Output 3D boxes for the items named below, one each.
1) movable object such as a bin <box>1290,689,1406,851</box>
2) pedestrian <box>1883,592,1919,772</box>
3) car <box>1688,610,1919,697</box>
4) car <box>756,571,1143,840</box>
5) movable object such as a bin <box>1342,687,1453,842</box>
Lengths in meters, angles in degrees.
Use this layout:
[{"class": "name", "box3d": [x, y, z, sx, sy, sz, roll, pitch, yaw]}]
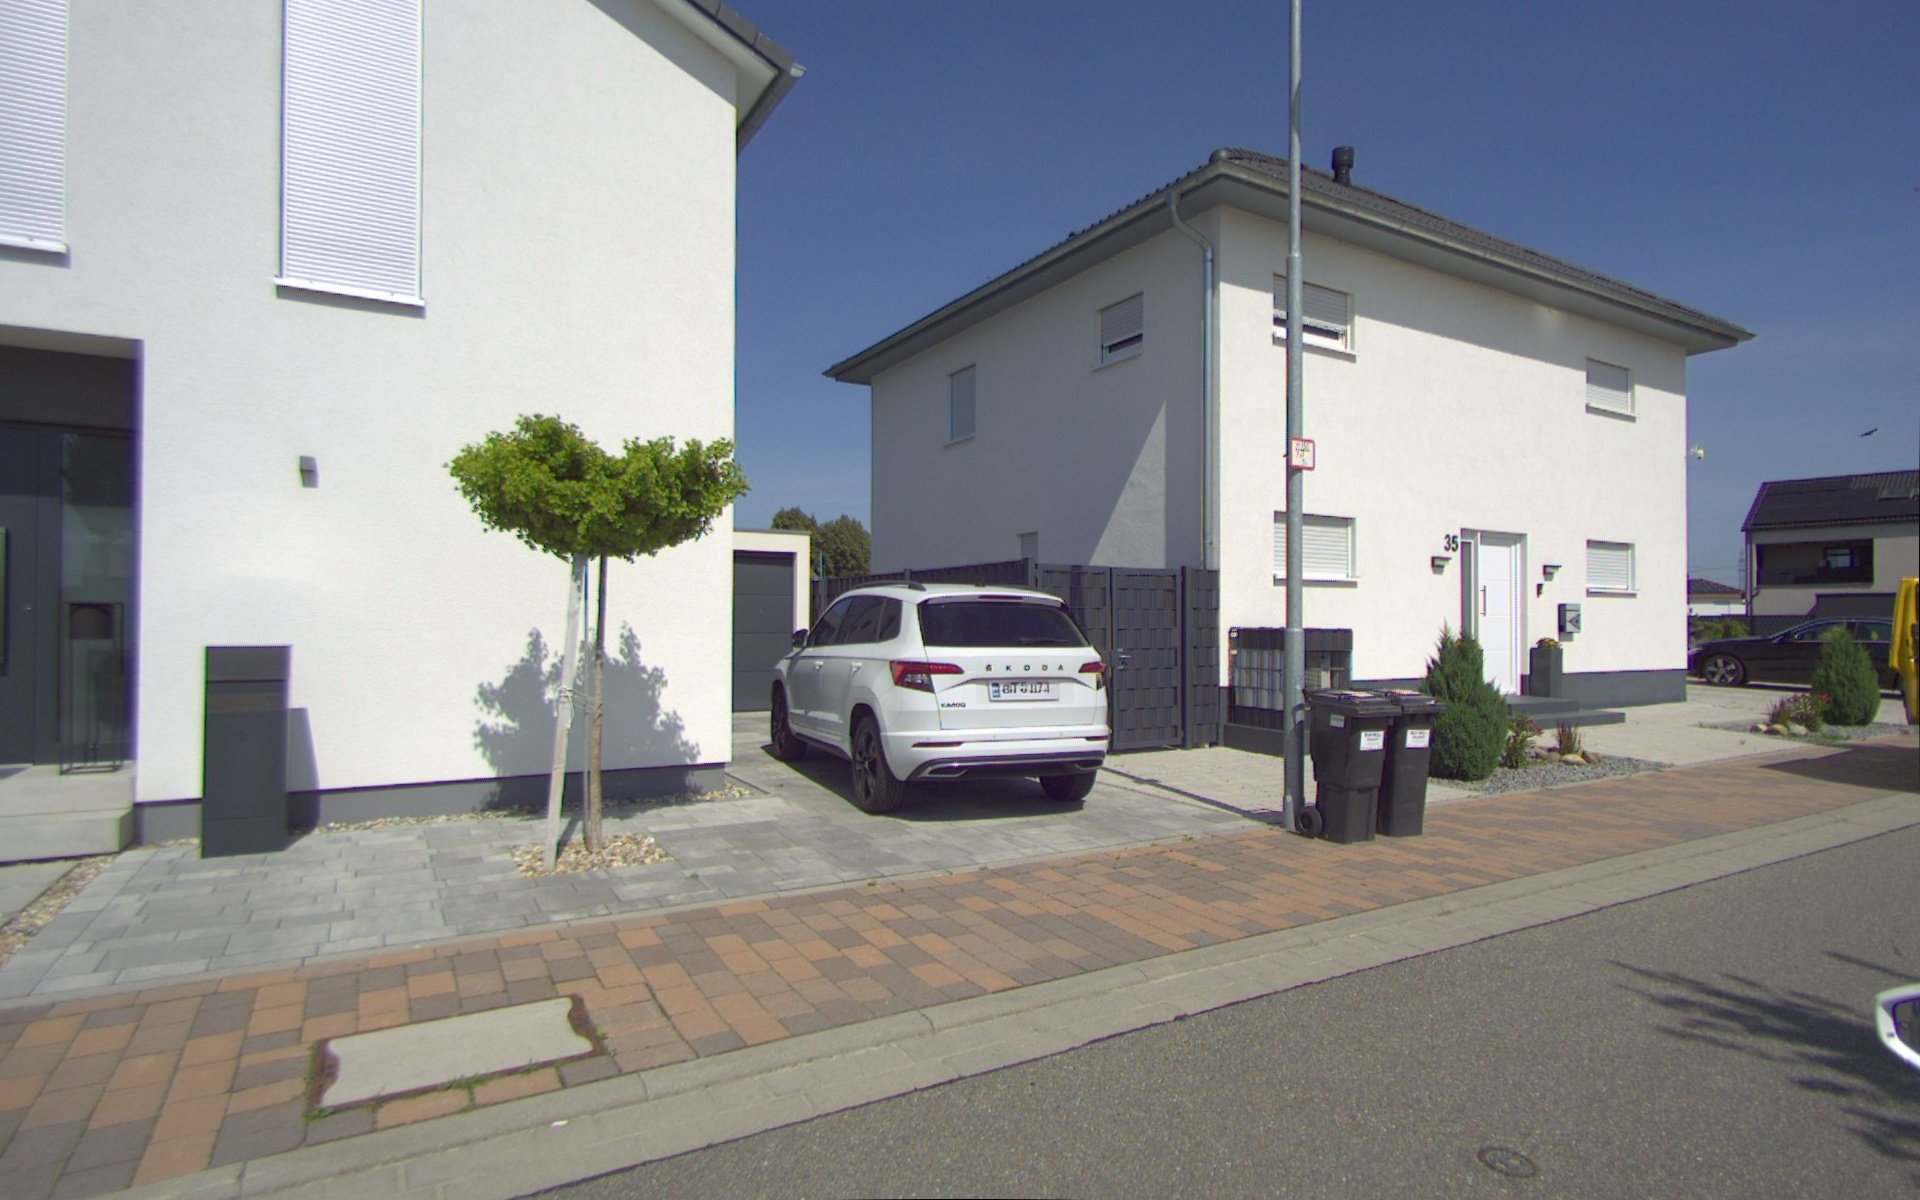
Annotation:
[{"class": "movable object such as a bin", "box3d": [2.495, 1.064, 6.463, 0.525, 0.938, 0.483, 1, -1, -34]}, {"class": "pedestrian", "box3d": [9.597, 0.803, 9.972, 0.565, 1.761, 0.527, 0, 1, -37]}, {"class": "car", "box3d": [16.567, 0.966, 18.942, 1.737, 1.471, 4.350, 1, 0, -44]}, {"class": "car", "box3d": [-0.363, 0.658, 8.303, 1.769, 1.641, 3.944, 1, 0, -24]}, {"class": "movable object such as a bin", "box3d": [2.940, 1.081, 6.760, 0.525, 0.938, 0.483, 1, -1, -34]}]
